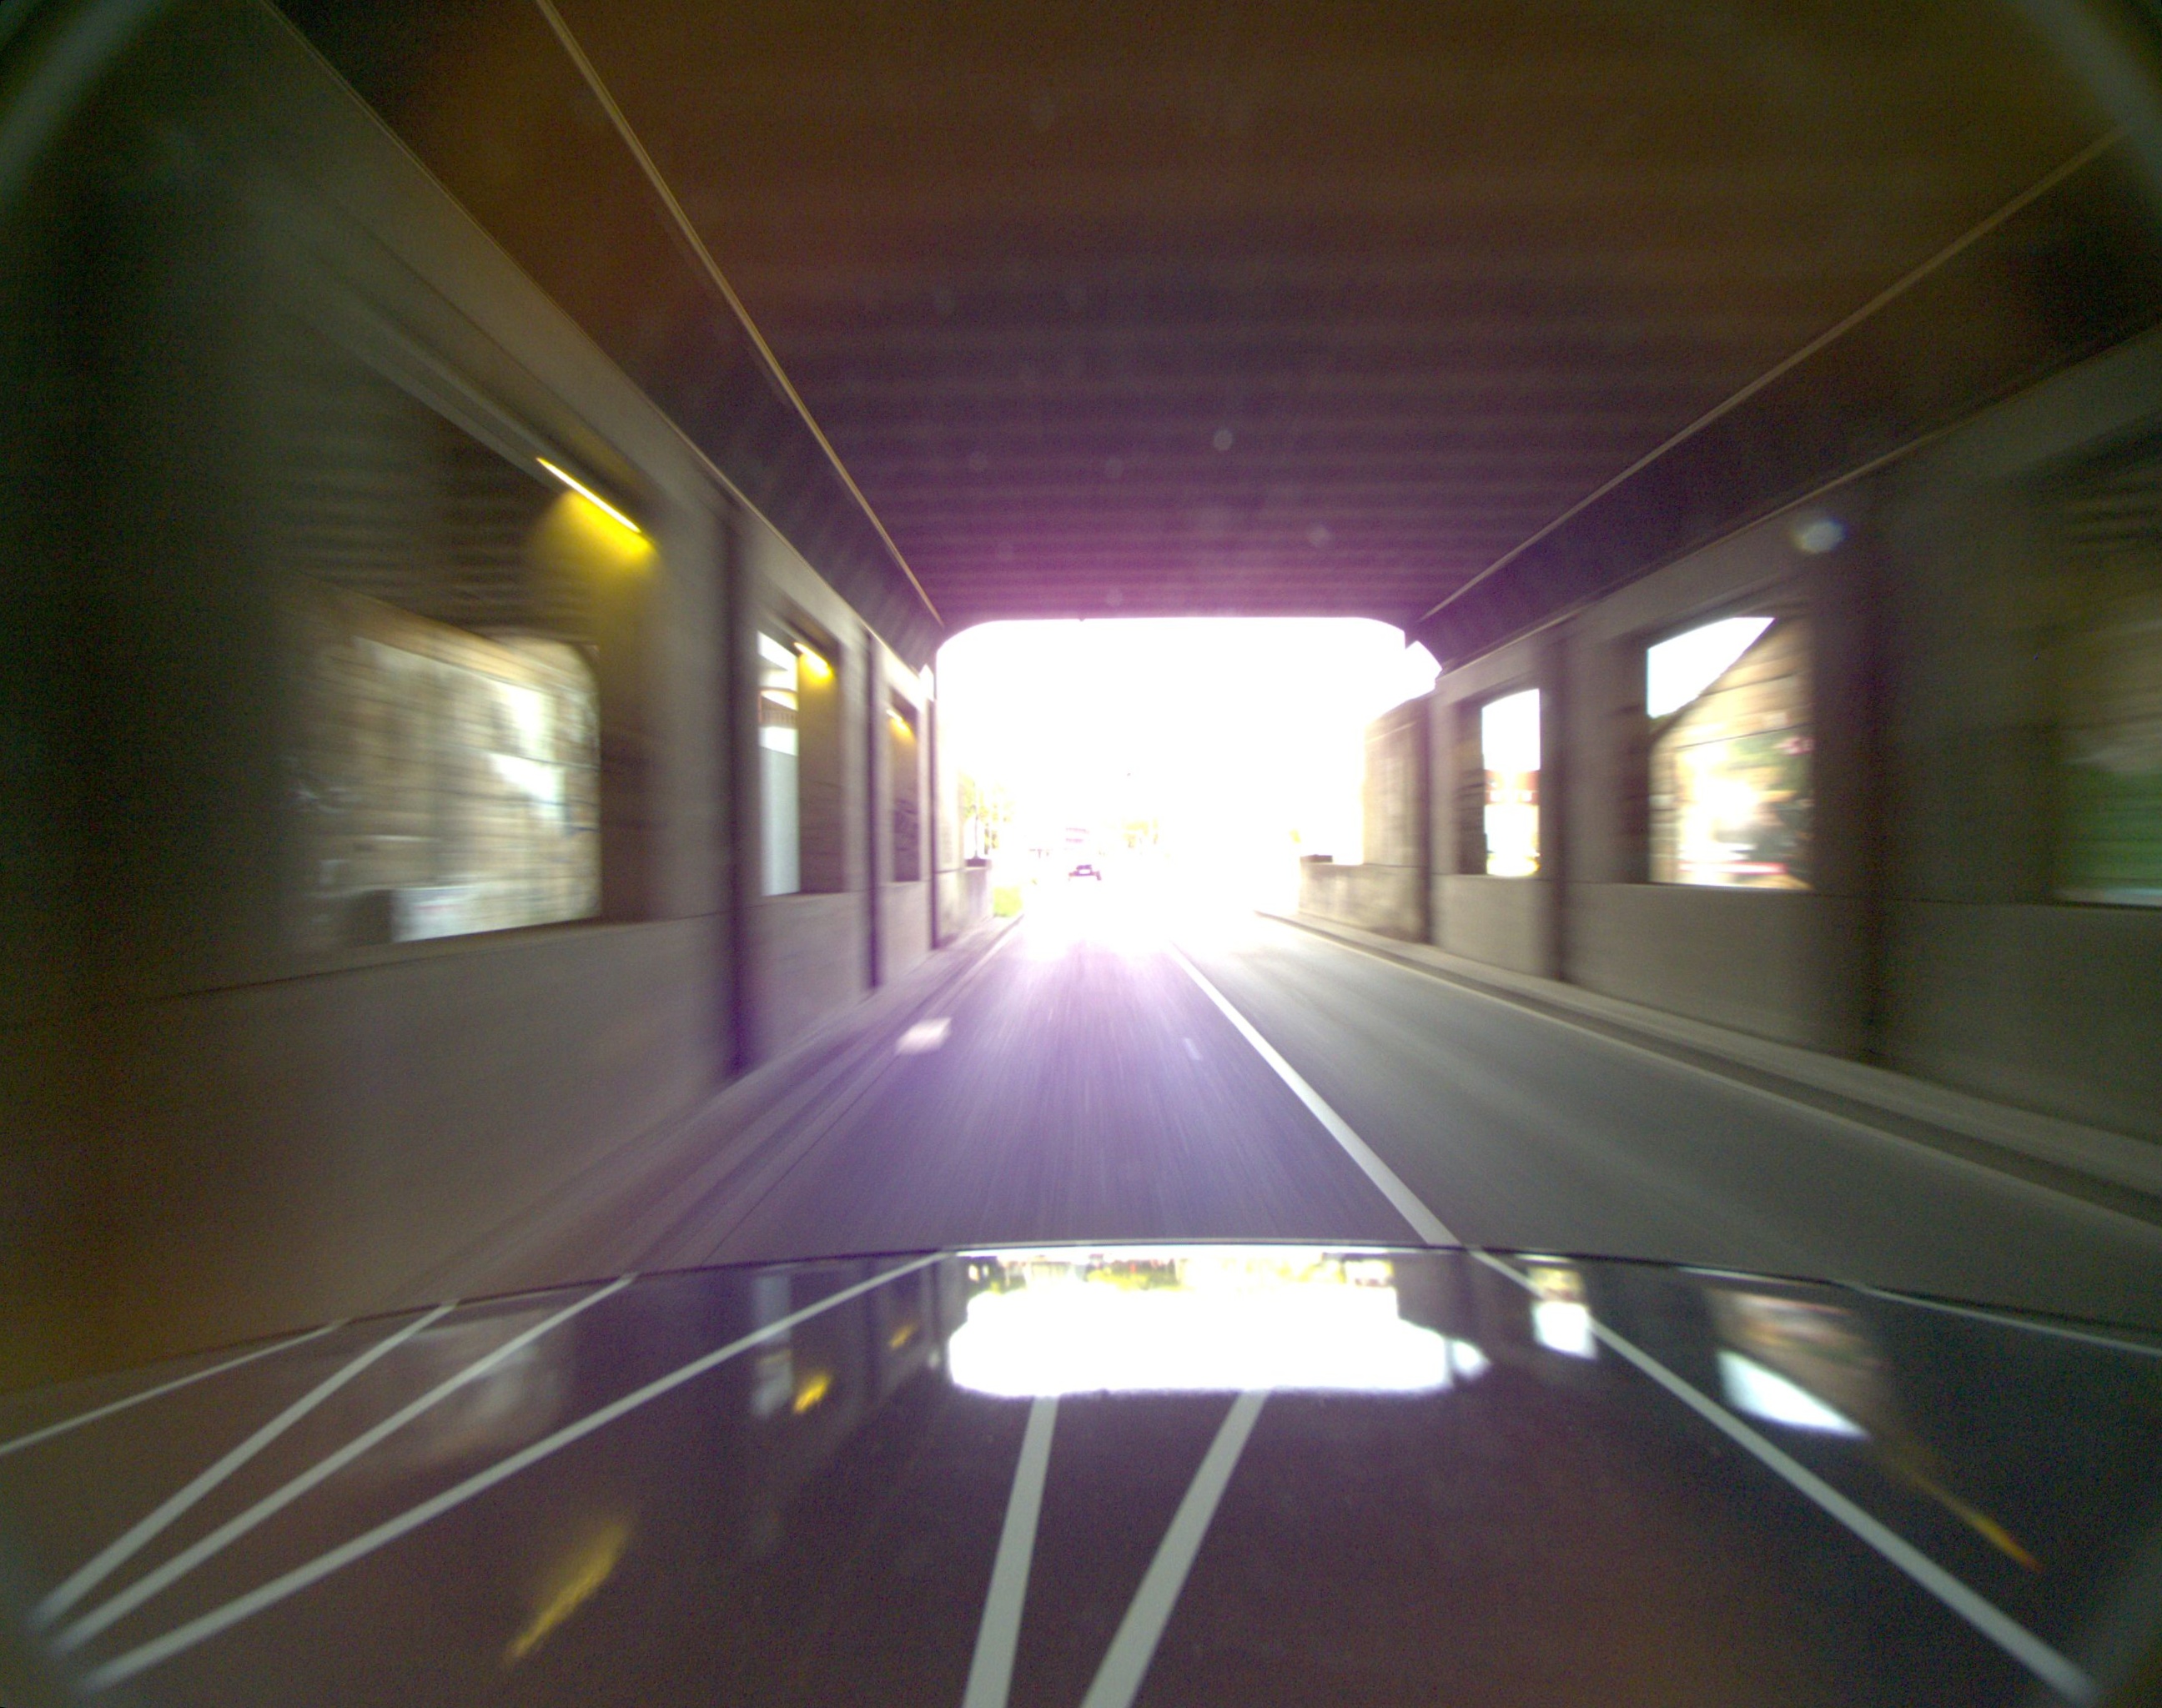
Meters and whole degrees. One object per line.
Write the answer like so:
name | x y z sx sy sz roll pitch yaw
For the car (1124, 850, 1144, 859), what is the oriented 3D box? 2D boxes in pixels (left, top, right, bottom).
car | 11.794 0.154 168.815 4.140 1.631 1.777 -2 2 22

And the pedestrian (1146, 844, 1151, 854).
pedestrian | 14.081 -1.075 158.983 0.695 1.953 0.929 -2 2 30

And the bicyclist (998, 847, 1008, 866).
bicyclist | -6.796 0.206 66.259 0.813 1.590 1.149 0 0 0

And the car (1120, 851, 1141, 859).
car | 10.810 0.238 166.118 4.140 1.631 1.777 -2 2 22

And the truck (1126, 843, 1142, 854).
truck | 15.550 -1.686 222.600 2.339 2.956 8.040 -2 2 19

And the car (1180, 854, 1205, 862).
car | 19.859 0.716 135.946 4.204 1.484 1.943 -1 -1 1

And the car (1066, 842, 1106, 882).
car | 0.228 0.384 42.144 1.941 1.923 4.522 -3 2 -2

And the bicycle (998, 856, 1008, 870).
bicycle | -6.791 0.797 66.315 0.720 1.185 2.001 0 0 0

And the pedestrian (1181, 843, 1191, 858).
pedestrian | 11.093 -0.371 80.356 0.834 1.620 1.181 -3 1 3
